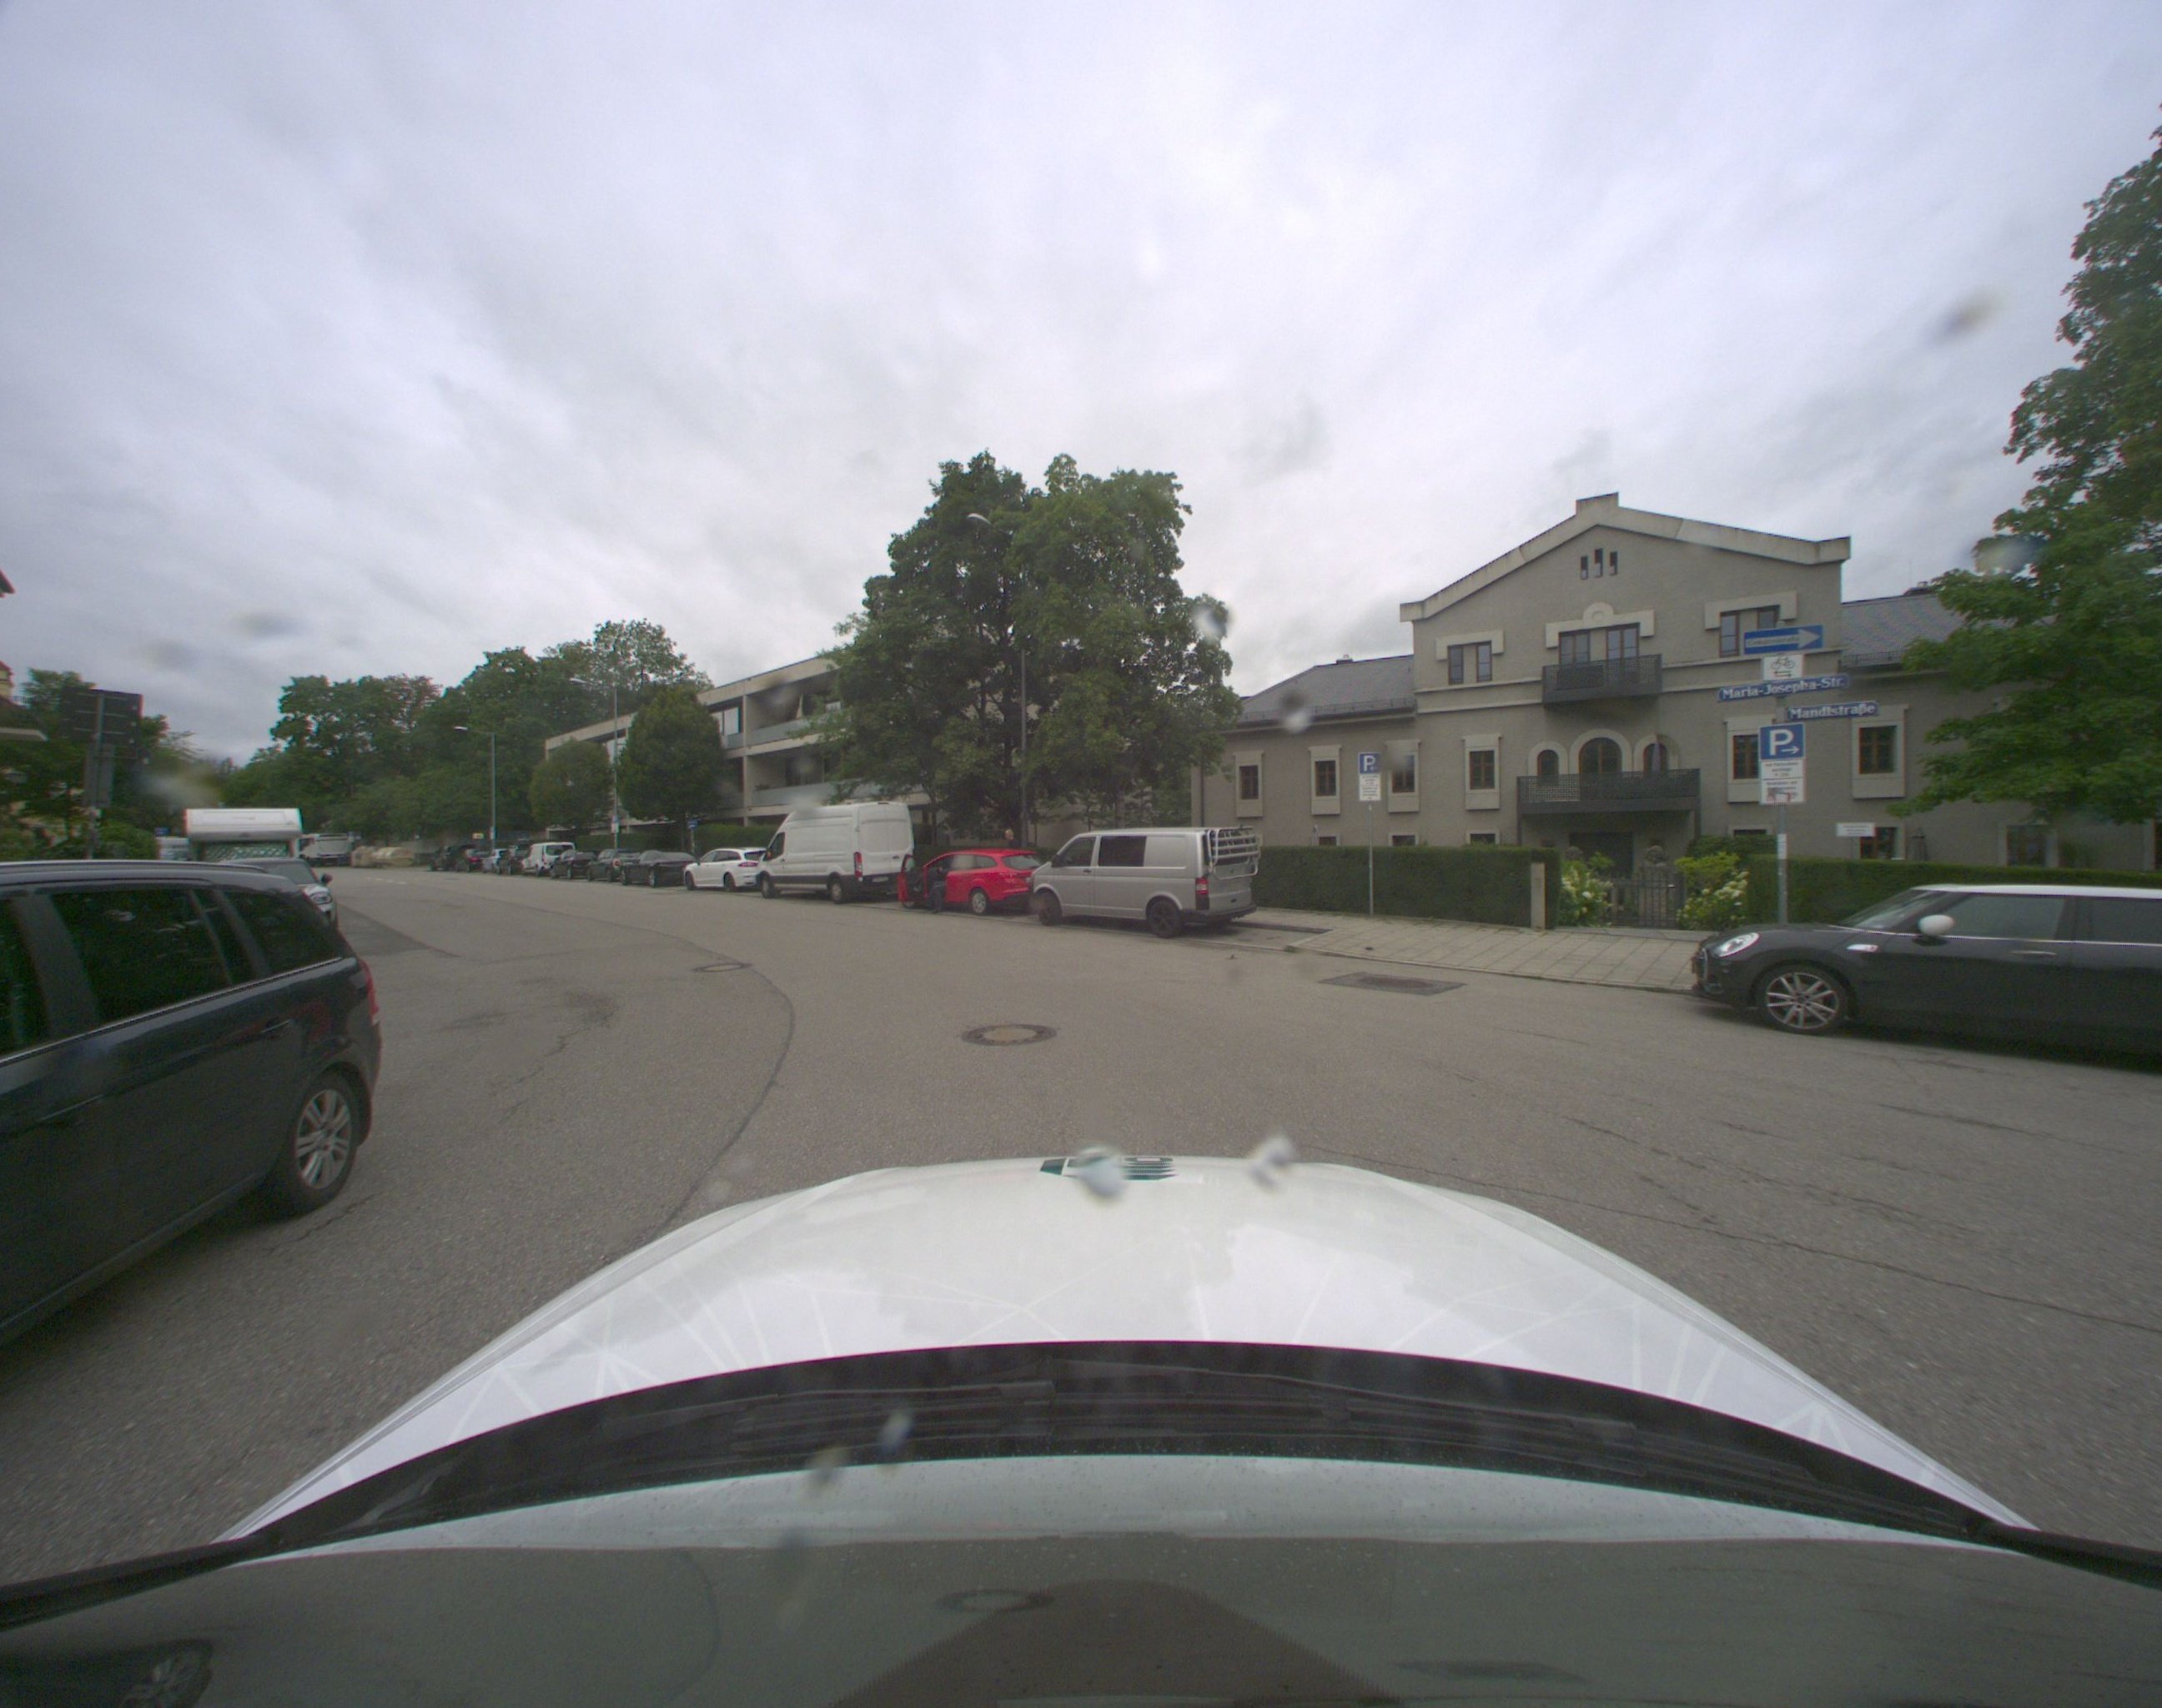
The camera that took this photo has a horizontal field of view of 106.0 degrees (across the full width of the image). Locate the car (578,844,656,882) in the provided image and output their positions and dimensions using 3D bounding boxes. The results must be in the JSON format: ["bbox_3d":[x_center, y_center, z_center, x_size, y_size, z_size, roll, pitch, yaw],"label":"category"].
[{"bbox_3d":[-20.683,0.368,36.267,4.151,1.528,1.743,0,3,42],"label":"car"}]

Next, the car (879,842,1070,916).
[{"bbox_3d":[-2.700,0.516,19.954,4.776,1.506,1.889,1,4,40],"label":"car"}]

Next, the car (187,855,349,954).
[{"bbox_3d":[-15.987,0.852,15.982,4.474,1.534,1.954,0,3,43],"label":"car"}]

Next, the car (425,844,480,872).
[{"bbox_3d":[-44.301,0.288,57.368,5.012,1.871,2.007,-1,-1,39],"label":"car"}]

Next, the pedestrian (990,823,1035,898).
[{"bbox_3d":[-1.789,0.153,21.258,0.802,1.903,0.854,0,0,-42],"label":"pedestrian"}]

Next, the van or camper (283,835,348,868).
[{"bbox_3d":[-70.210,-0.243,74.664,7.183,2.906,2.294,0,1,30],"label":"van or camper"}]

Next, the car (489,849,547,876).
[{"bbox_3d":[-32.631,0.445,47.153,4.539,1.480,1.764,1,1,42],"label":"car"}]

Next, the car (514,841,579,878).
[{"bbox_3d":[-28.798,0.278,43.807,4.836,1.860,1.839,0,0,43],"label":"car"}]

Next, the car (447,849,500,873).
[{"bbox_3d":[-40.245,0.439,53.951,4.511,1.539,1.764,0,1,39],"label":"car"}]

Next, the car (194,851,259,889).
[{"bbox_3d":[-39.349,0.702,37.462,4.385,1.534,1.863,-1,3,42],"label":"car"}]

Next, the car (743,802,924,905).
[{"bbox_3d":[-7.387,-0.095,23.933,6.010,2.686,2.100,1,3,40],"label":"car"}]

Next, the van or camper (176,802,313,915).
[{"bbox_3d":[-25.239,0.053,24.587,7.121,2.940,2.478,0,3,43],"label":"van or camper"}]

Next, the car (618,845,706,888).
[{"bbox_3d":[-16.806,0.438,32.533,5.141,1.506,1.293,1,4,42],"label":"car"}]

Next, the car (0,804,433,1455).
[{"bbox_3d":[-3.923,0.762,2.198,2.000,1.693,4.306,-3,0,-19],"label":"car"}]

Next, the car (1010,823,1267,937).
[{"bbox_3d":[1.004,0.391,16.342,5.008,1.904,1.953,1,4,43],"label":"car"}]

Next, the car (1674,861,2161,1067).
[{"bbox_3d":[8.022,0.879,7.384,4.214,1.446,1.909,2,0,35],"label":"car"}]

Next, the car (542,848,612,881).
[{"bbox_3d":[-24.639,0.468,39.754,4.189,1.464,1.764,0,2,42],"label":"car"}]

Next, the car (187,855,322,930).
[{"bbox_3d":[-20.258,0.830,19.904,4.760,1.508,1.954,0,3,41],"label":"car"}]

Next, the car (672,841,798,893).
[{"bbox_3d":[-12.182,0.391,28.507,4.937,1.569,1.889,1,4,39],"label":"car"}]

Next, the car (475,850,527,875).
[{"bbox_3d":[-35.894,0.495,50.340,3.839,1.480,1.764,0,1,41],"label":"car"}]
